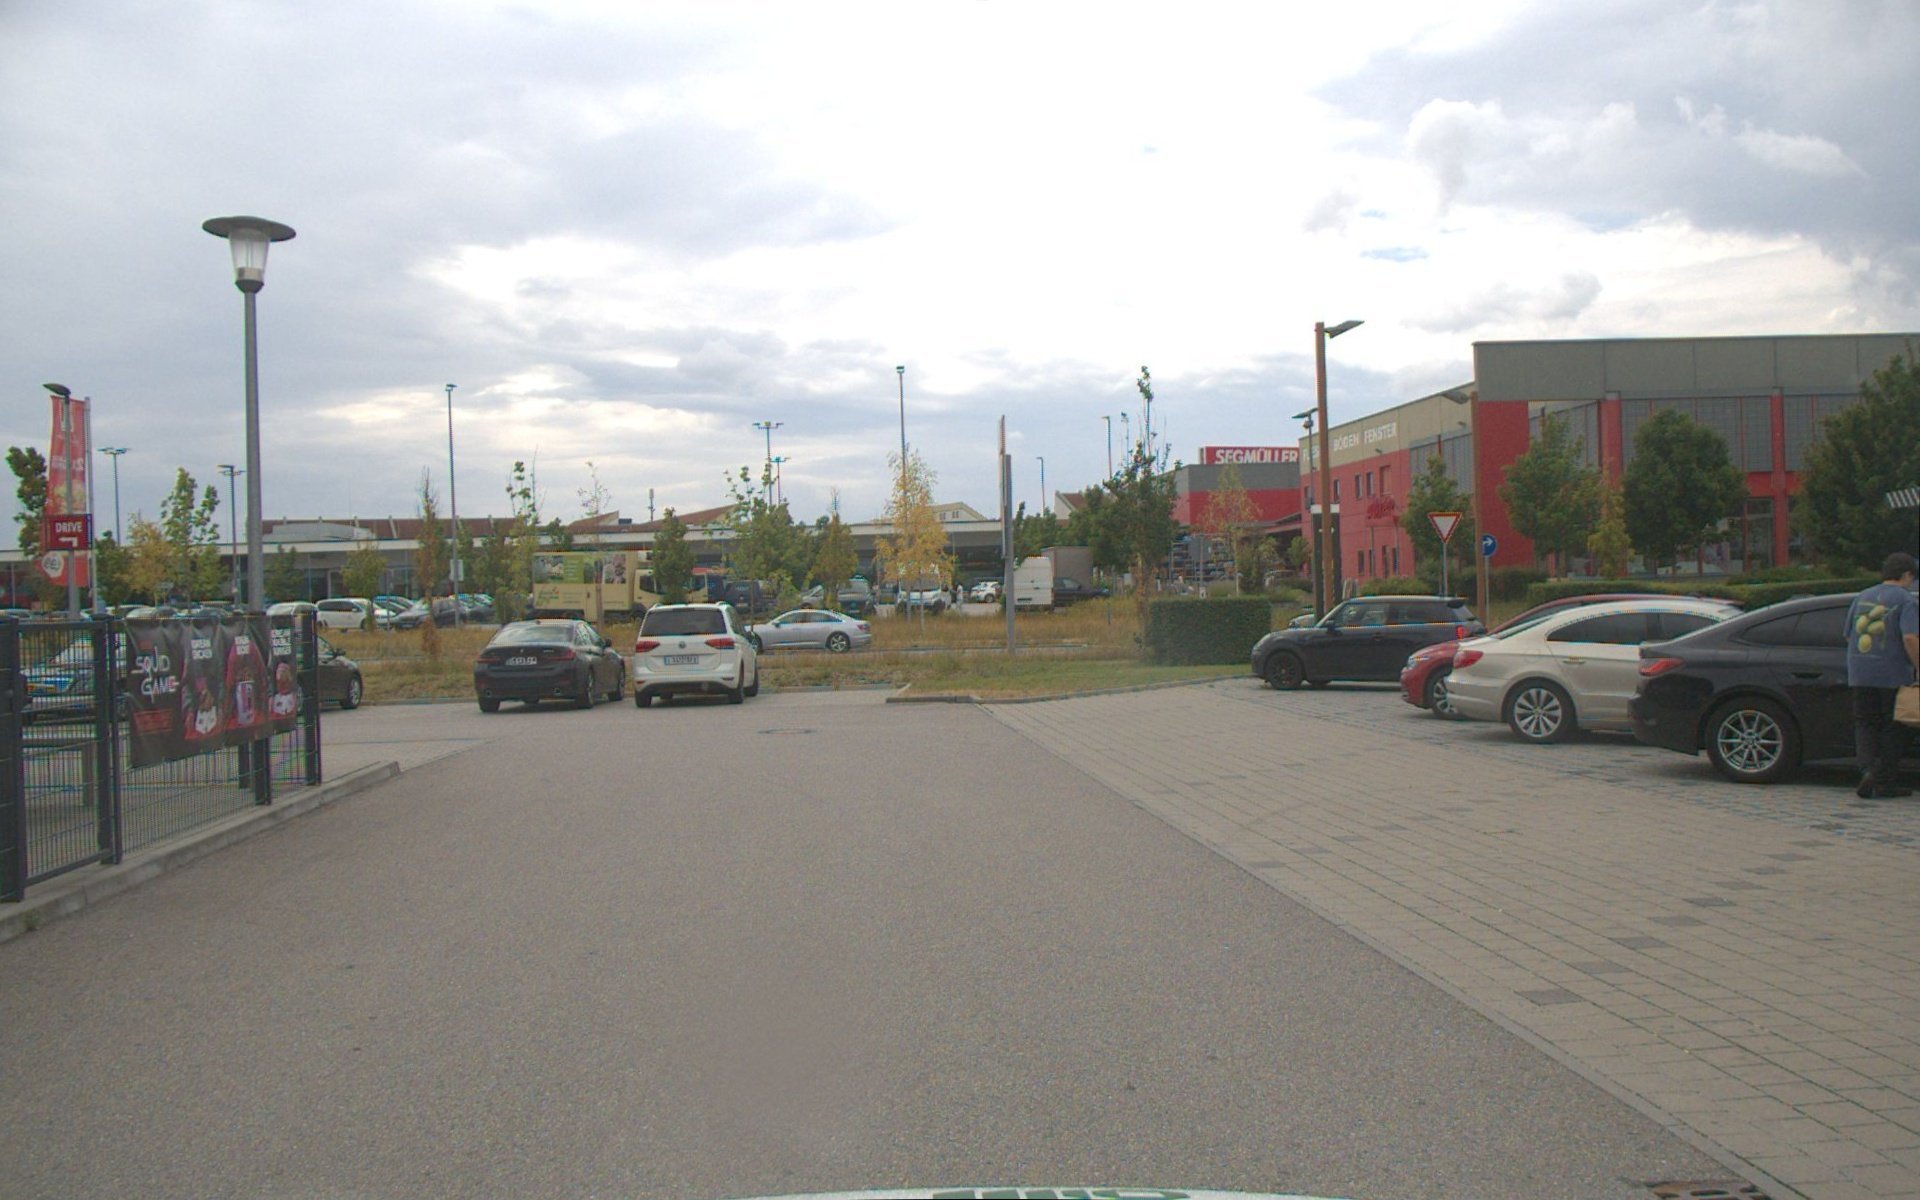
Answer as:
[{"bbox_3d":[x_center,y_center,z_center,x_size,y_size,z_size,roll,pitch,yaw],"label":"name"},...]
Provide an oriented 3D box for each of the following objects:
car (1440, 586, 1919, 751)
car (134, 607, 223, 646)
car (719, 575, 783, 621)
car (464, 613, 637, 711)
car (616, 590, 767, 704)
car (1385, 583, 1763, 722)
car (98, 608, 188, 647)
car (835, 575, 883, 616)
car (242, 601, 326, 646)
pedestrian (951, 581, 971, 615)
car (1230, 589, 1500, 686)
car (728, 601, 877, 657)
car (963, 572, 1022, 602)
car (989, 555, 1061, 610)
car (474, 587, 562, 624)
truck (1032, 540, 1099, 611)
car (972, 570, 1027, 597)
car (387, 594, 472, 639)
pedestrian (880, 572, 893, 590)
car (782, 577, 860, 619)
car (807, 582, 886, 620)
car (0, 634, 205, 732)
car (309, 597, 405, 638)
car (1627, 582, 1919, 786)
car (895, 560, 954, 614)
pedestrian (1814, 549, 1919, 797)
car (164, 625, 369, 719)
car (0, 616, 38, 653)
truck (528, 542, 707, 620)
[{"bbox_3d":[7.206,0.613,16.411,4.369,1.437,1.747,-1,0,35],"label":"car"},{"bbox_3d":[-36.742,1.241,77.884,1.728,1.566,4.059,-2,2,9],"label":"car"},{"bbox_3d":[-9.363,-0.099,74.475,2.028,1.917,5.071,-1,0,2],"label":"car"},{"bbox_3d":[-6.863,1.034,28.213,1.902,1.492,4.514,-1,-2,-2],"label":"car"},{"bbox_3d":[-4.502,0.804,28.368,1.946,1.743,4.370,-1,-2,-2],"label":"car"},{"bbox_3d":[7.244,0.575,19.652,3.919,1.490,1.681,-1,0,36],"label":"car"},{"bbox_3d":[-38.877,1.288,78.786,1.728,1.566,4.059,-2,2,9],"label":"car"},{"bbox_3d":[-4.508,-0.227,73.804,2.030,1.667,5.067,-1,2,-4],"label":"car"},{"bbox_3d":[-31.327,1.066,76.787,1.952,1.802,4.323,-2,2,1],"label":"car"},{"bbox_3d":[0.044,-0.085,73.681,0.769,1.454,0.978,-2,2,-2],"label":"pedestrian"},{"bbox_3d":[6.426,0.570,26.340,3.848,1.437,1.682,-1,0,33],"label":"car"},{"bbox_3d":[-5.161,0.940,54.664,4.741,1.579,1.802,-2,2,-2],"label":"car"},{"bbox_3d":[2.209,-0.875,112.667,3.906,1.869,2.000,-2,2,-1],"label":"car"},{"bbox_3d":[2.855,-0.839,74.418,2.293,2.307,6.499,-2,2,-6],"label":"car"},{"bbox_3d":[-24.167,0.268,90.533,4.222,1.802,1.999,-2,2,-4],"label":"car"},{"bbox_3d":[6.016,-1.461,95.544,2.596,3.808,8.249,-2,2,-5],"label":"truck"},{"bbox_3d":[2.869,-1.223,121.243,3.906,1.766,1.934,-2,2,-1],"label":"car"},{"bbox_3d":[-24.154,0.708,75.491,1.884,1.802,4.326,-2,2,9],"label":"car"},{"bbox_3d":[-5.941,-1.544,133.459,0.647,1.454,0.787,-3,2,-41],"label":"pedestrian"},{"bbox_3d":[-7.489,-0.106,89.025,3.916,2.048,1.995,-2,2,-11],"label":"car"},{"bbox_3d":[-5.812,0.027,84.869,3.908,1.768,1.890,-2,2,-4],"label":"car"},{"bbox_3d":[-14.667,1.349,27.784,1.867,1.482,4.740,-1,-2,-2],"label":"car"},{"bbox_3d":[-29.676,0.849,81.448,3.902,1.802,2.002,-2,2,12],"label":"car"},{"bbox_3d":[7.588,0.603,12.680,4.320,1.489,1.680,-1,0,37],"label":"car"},{"bbox_3d":[-1.660,-0.633,74.217,2.360,2.252,6.056,-1,2,-4],"label":"car"},{"bbox_3d":[6.660,0.509,11.845,0.826,1.707,0.746,-2,-2,37],"label":"pedestrian"},{"bbox_3d":[-11.684,1.188,28.155,1.844,1.437,4.069,-1,-2,-2],"label":"car"},{"bbox_3d":[-44.396,1.656,75.102,1.952,1.566,4.163,-1,2,19],"label":"car"},{"bbox_3d":[-15.559,-0.831,74.864,8.258,3.251,3.020,-1,2,34],"label":"truck"}]
